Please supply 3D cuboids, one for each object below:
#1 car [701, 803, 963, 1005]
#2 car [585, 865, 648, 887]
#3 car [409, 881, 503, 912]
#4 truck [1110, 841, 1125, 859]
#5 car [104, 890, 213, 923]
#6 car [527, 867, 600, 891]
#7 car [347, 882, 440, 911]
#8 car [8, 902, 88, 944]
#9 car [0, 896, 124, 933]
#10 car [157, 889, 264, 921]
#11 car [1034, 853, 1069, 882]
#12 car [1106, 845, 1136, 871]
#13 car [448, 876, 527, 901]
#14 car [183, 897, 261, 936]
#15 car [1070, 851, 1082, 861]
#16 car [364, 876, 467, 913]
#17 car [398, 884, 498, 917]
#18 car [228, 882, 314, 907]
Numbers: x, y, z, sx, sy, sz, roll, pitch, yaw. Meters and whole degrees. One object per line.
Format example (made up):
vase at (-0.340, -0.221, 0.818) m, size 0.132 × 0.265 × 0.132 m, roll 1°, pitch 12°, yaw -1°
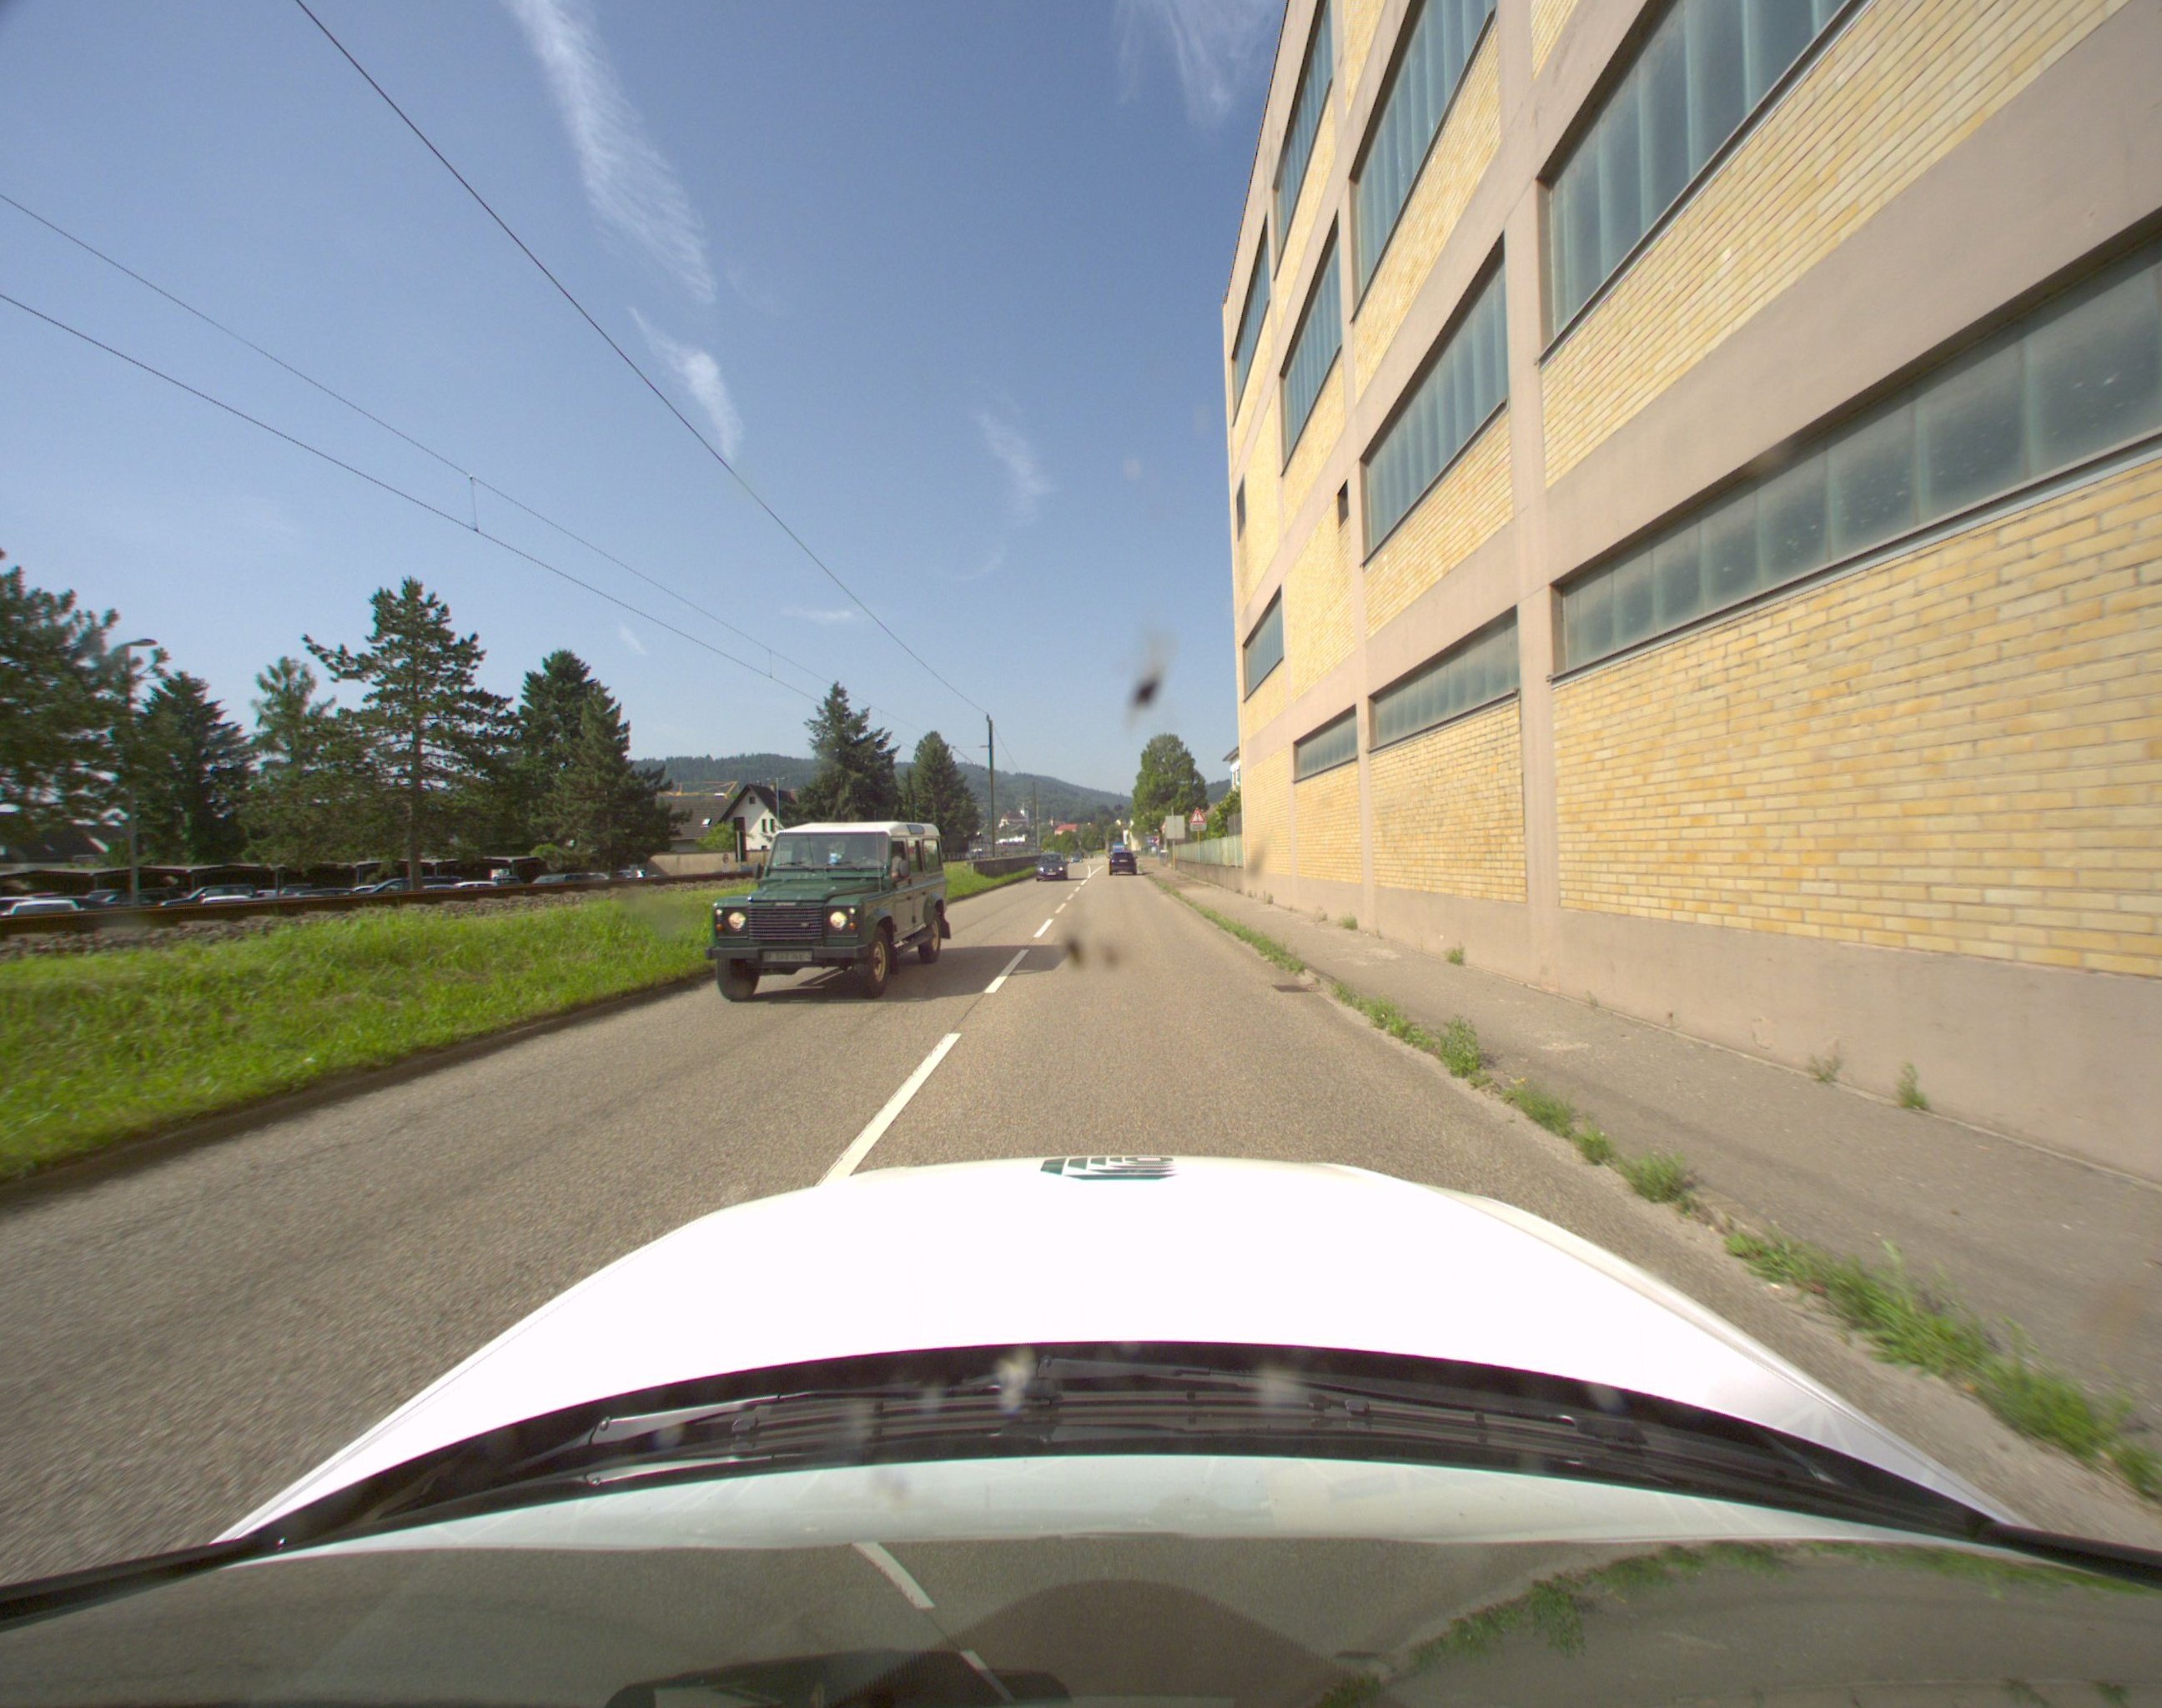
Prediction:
car at (-2.930, 0.514, 10.823) m, size 1.751 × 2.078 × 4.811 m, roll -1°, pitch 0°, yaw 3°
car at (-37.692, 1.793, 66.148) m, size 3.983 × 1.665 × 1.814 m, roll -1°, pitch 0°, yaw -7°
car at (-31.891, 2.153, 41.615) m, size 1.438 × 1.325 × 3.559 m, roll -3°, pitch 0°, yaw 38°
truck at (6.613, -0.720, 146.778) m, size 2.305 × 2.970 × 5.964 m, roll -2°, pitch 0°, yaw 0°
car at (-46.483, 2.620, 41.092) m, size 1.438 × 1.394 × 3.559 m, roll -3°, pitch 0°, yaw 38°
car at (-37.049, 1.775, 58.383) m, size 3.983 × 1.536 × 1.814 m, roll -1°, pitch 0°, yaw -7°
car at (-36.636, 2.247, 43.462) m, size 1.438 × 1.325 × 3.559 m, roll -3°, pitch 0°, yaw 38°
car at (-36.799, 2.412, 28.986) m, size 3.491 × 1.325 × 1.467 m, roll -2°, pitch 0°, yaw 34°
car at (-45.865, 2.683, 36.644) m, size 1.438 × 1.394 × 3.559 m, roll -3°, pitch 0°, yaw 38°
car at (-43.824, 2.528, 41.043) m, size 1.438 × 1.325 × 3.559 m, roll -3°, pitch 0°, yaw 38°
car at (-1.656, 0.747, 46.942) m, size 1.724 × 1.526 × 4.094 m, roll -1°, pitch 0°, yaw 2°
car at (2.787, 0.270, 55.653) m, size 1.911 × 1.640 × 4.004 m, roll -2°, pitch 0°, yaw 4°
car at (-35.946, 2.063, 49.390) m, size 3.528 × 1.325 × 1.451 m, roll -2°, pitch 0°, yaw -12°
car at (-32.718, 2.344, 31.004) m, size 3.491 × 1.325 × 1.467 m, roll -2°, pitch 0°, yaw 34°
car at (-0.705, 0.353, 124.821) m, size 1.736 × 1.507 × 4.200 m, roll -1°, pitch 0°, yaw 1°
car at (-34.327, 2.057, 42.069) m, size 1.625 × 1.688 × 3.830 m, roll -2°, pitch 0°, yaw 37°
car at (-30.437, 2.221, 39.239) m, size 1.438 × 1.325 × 3.559 m, roll -3°, pitch 0°, yaw 38°
car at (-50.533, 2.521, 50.875) m, size 3.532 × 1.325 × 1.450 m, roll -2°, pitch 0°, yaw -15°
